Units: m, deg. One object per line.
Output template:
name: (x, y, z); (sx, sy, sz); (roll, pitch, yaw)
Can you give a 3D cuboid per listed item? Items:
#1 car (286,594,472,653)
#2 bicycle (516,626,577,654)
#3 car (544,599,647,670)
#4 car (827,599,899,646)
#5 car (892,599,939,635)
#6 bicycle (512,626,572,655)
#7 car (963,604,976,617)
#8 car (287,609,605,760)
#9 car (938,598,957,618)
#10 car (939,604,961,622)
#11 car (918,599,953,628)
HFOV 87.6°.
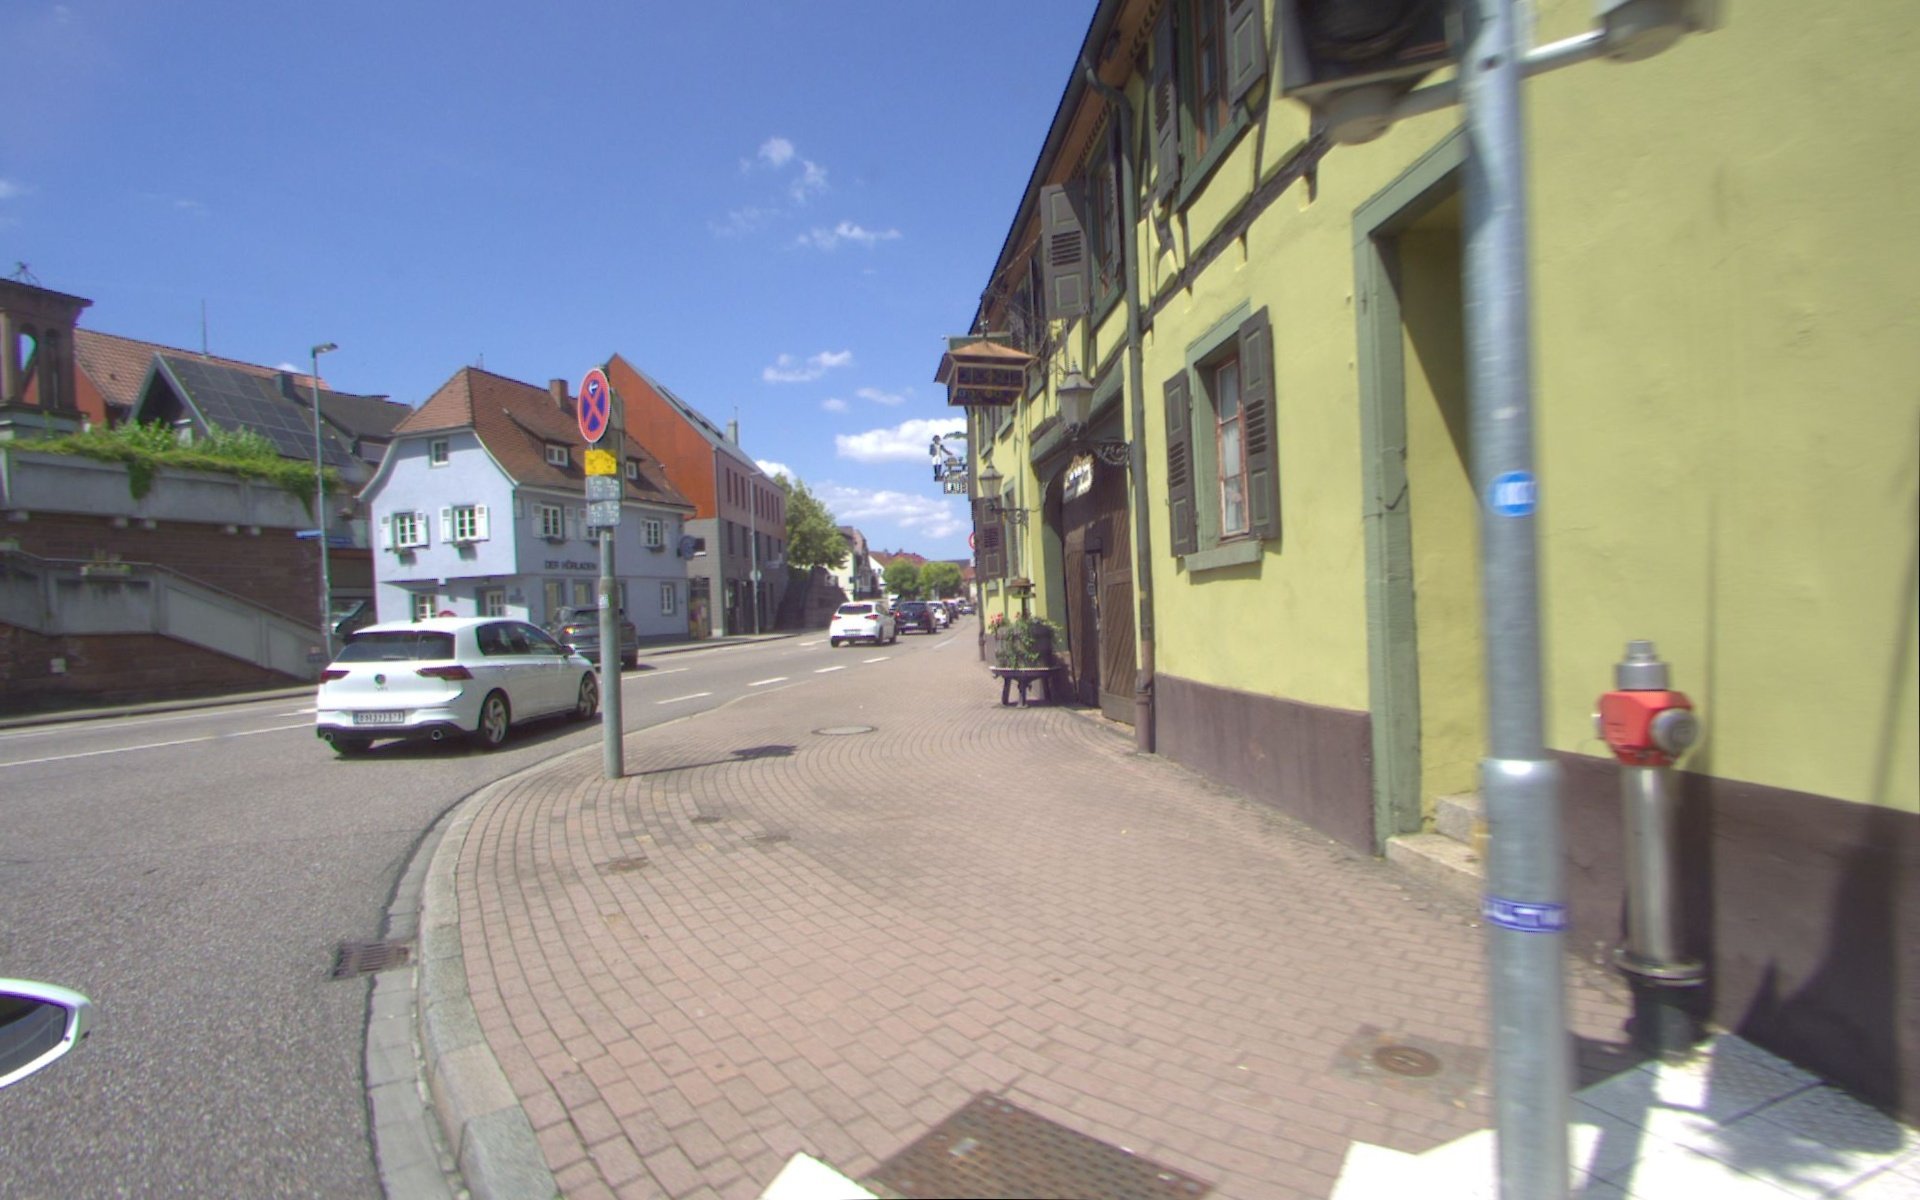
car: (-22.917, 0.876, 39.844); (2.485, 2.040, 5.973); (-3, -1, 26)
bicycle: (-13.958, 1.337, 33.828); (1.801, 0.911, 0.618); (0, 0, -38)
car: (-9.156, 0.875, 24.908); (1.926, 1.602, 4.309); (0, -2, -27)
car: (-3.229, 0.743, 33.969); (1.754, 1.477, 3.863); (-2, -1, 4)
car: (-1.947, 0.764, 44.645); (1.754, 1.477, 3.863); (-2, -1, 2)
bicycle: (-14.343, 1.379, 34.365); (1.801, 0.911, 0.644); (0, 0, -38)
car: (1.423, 1.511, 143.041); (1.754, 1.864, 3.863); (-2, -1, 1)
car: (-5.892, 0.877, 12.078); (1.754, 1.477, 3.863); (-2, -1, 1)
car: (-1.264, 0.835, 100.153); (1.754, 1.864, 3.863); (-2, -1, 1)
car: (-0.847, 1.107, 86.955); (1.754, 1.477, 3.863); (-2, -1, 1)
car: (-1.299, 0.752, 55.185); (1.754, 1.477, 3.863); (-2, -1, 1)
